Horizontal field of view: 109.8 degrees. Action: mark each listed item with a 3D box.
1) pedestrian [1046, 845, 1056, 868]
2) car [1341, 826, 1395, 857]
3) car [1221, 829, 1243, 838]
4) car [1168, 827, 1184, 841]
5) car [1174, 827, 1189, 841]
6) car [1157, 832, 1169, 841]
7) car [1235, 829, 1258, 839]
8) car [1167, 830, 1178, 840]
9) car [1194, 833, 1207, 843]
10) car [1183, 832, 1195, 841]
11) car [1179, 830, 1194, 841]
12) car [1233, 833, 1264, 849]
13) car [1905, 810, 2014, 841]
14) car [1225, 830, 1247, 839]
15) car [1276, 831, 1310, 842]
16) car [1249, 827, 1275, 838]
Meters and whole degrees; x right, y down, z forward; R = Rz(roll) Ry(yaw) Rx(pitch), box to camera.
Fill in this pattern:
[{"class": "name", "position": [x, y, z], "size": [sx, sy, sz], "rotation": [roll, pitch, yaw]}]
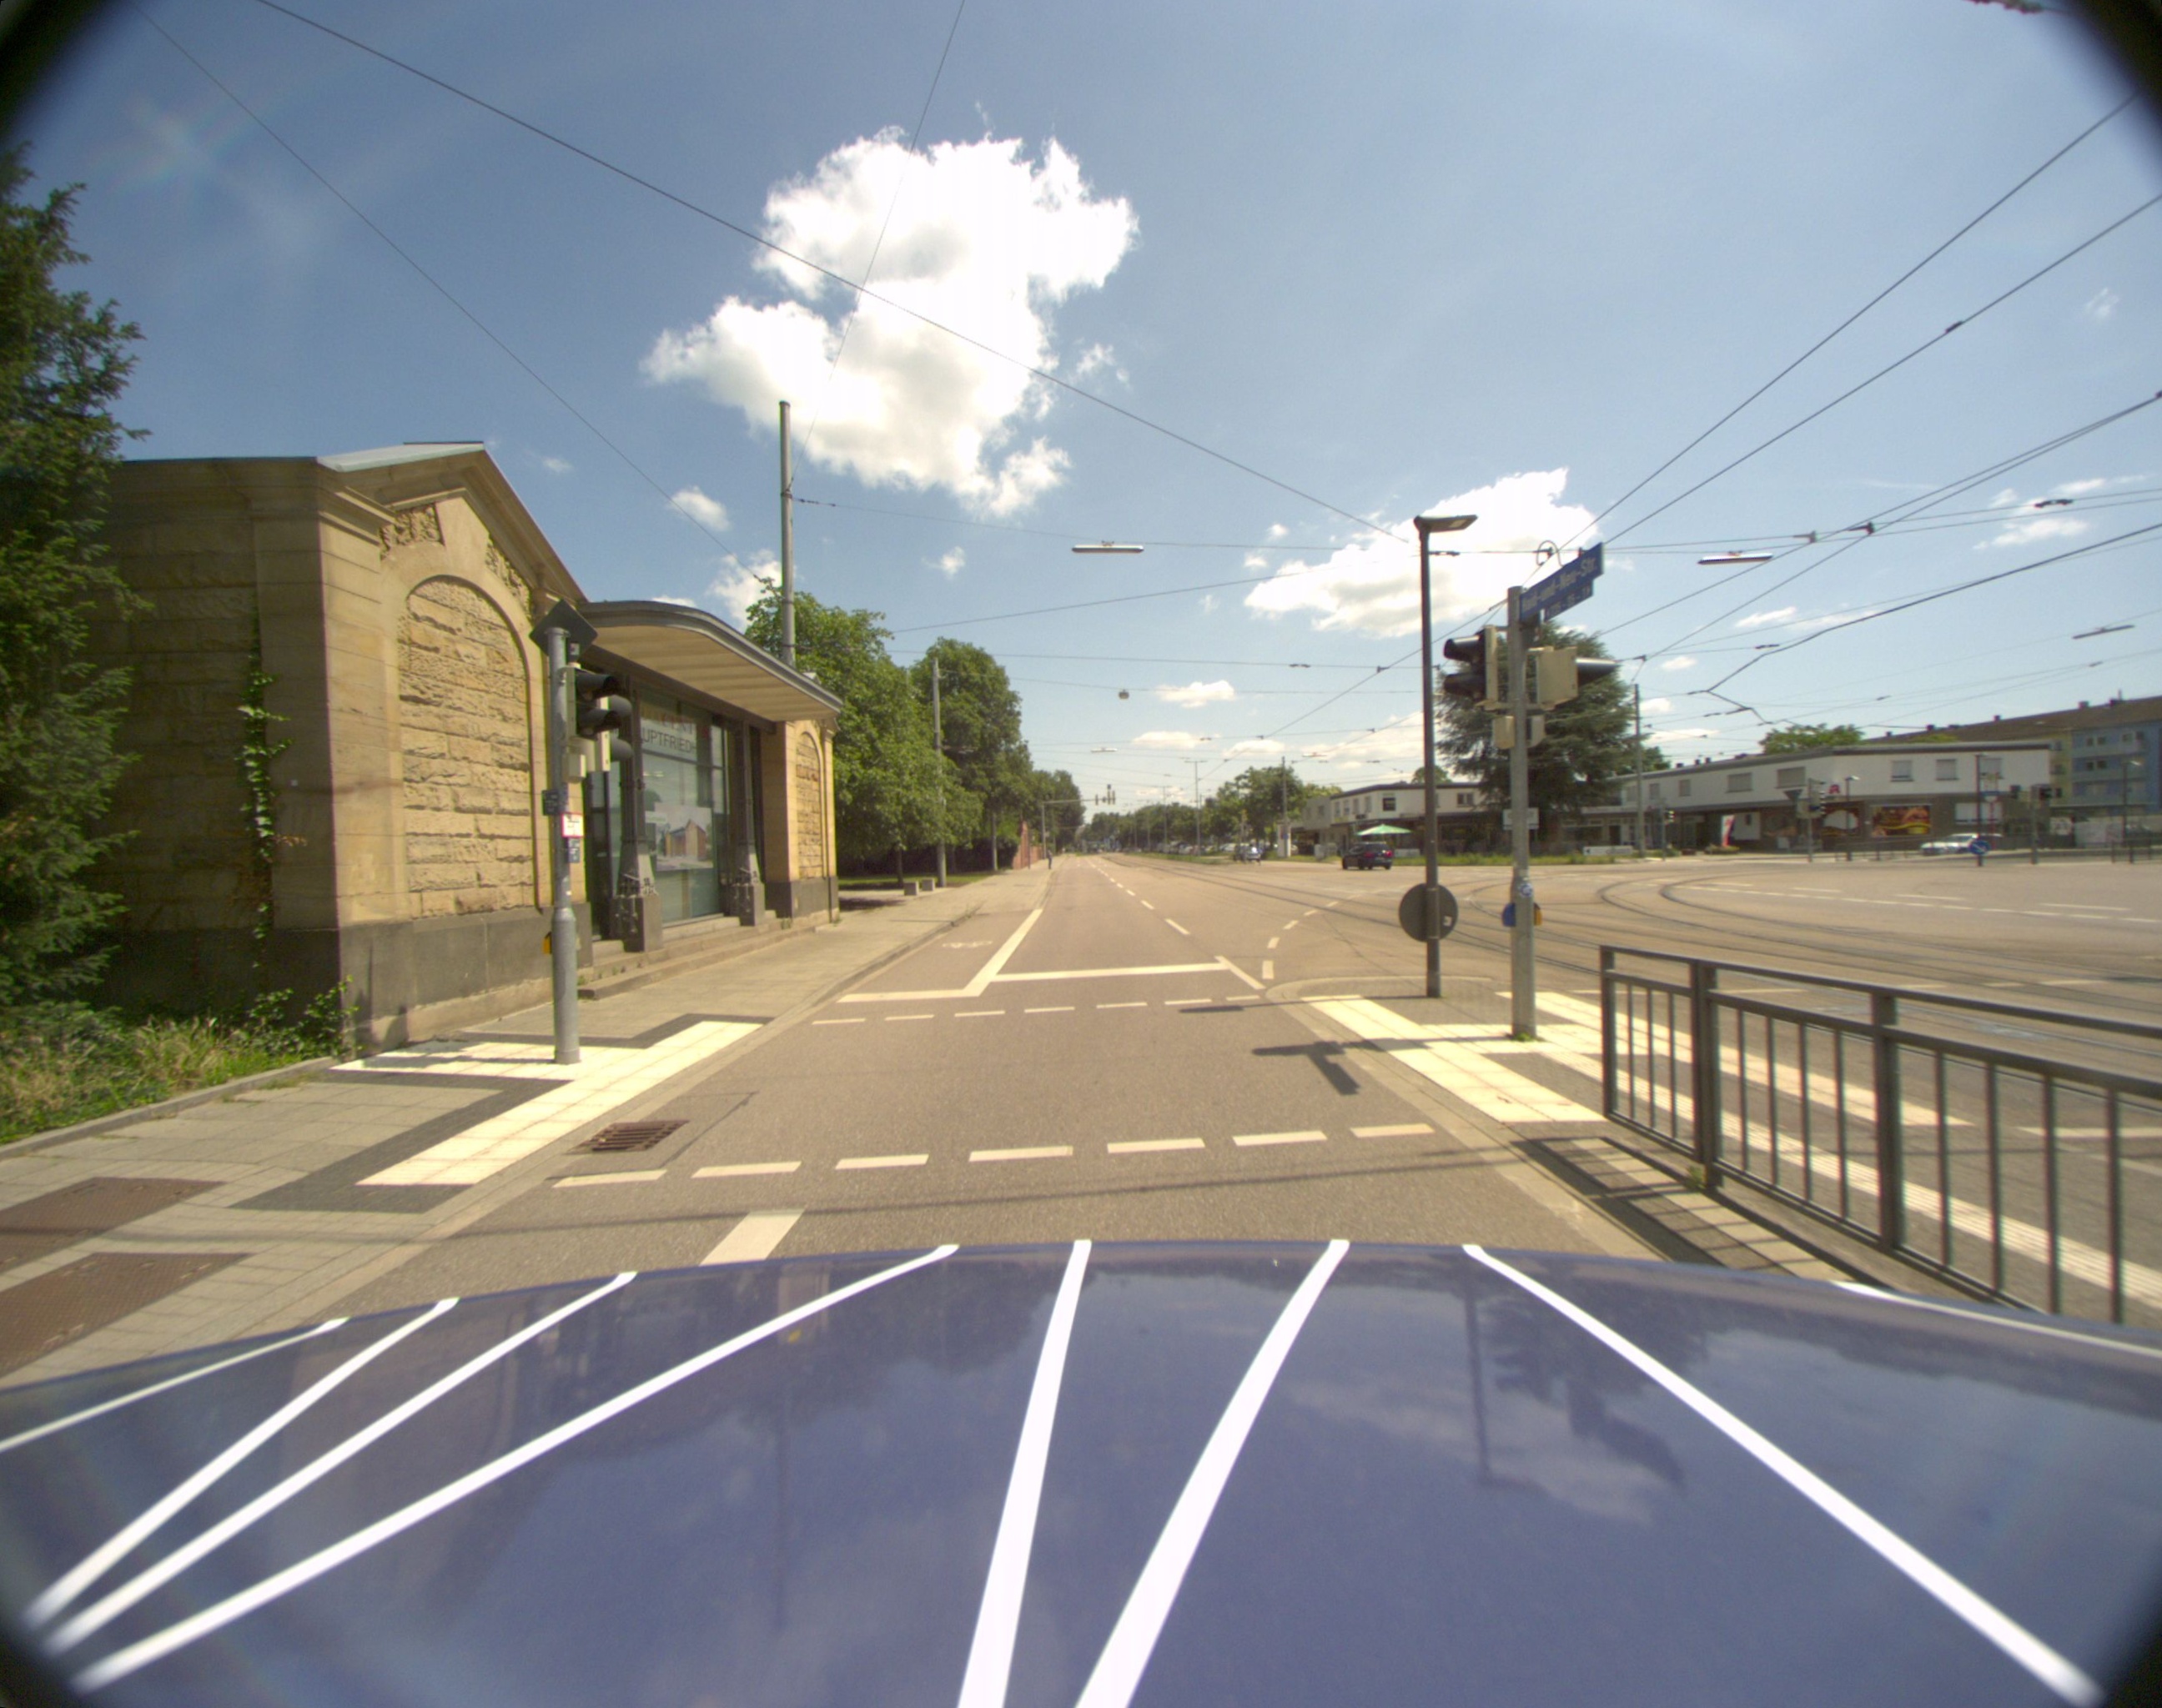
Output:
[{"class": "pedestrian", "position": [-2.442, 0.197, 61.701], "size": [0.767, 1.841, 0.717], "rotation": [-2, 2, -6]}, {"class": "car", "position": [16.853, -0.745, 44.787], "size": [1.727, 1.673, 4.279], "rotation": [-1, 1, 3]}, {"class": "car", "position": [30.921, -4.233, 155.713], "size": [4.199, 1.727, 1.802], "rotation": [0, 2, 0]}, {"class": "car", "position": [19.696, -4.185, 157.414], "size": [2.156, 2.597, 6.701], "rotation": [-4, 2, -1]}, {"class": "car", "position": [19.692, -3.926, 149.269], "size": [2.156, 2.597, 5.031], "rotation": [-4, 2, 0]}, {"class": "car", "position": [19.934, -4.299, 184.613], "size": [2.072, 2.090, 4.487], "rotation": [-4, 2, -2]}, {"class": "car", "position": [30.882, -3.750, 141.838], "size": [3.997, 1.727, 1.902], "rotation": [-1, 2, 1]}, {"class": "car", "position": [20.004, -4.129, 166.107], "size": [1.794, 1.928, 4.647], "rotation": [-4, 2, 0]}, {"class": "car", "position": [19.927, -2.748, 126.858], "size": [1.580, 1.531, 4.549], "rotation": [-3, 2, 1]}, {"class": "car", "position": [19.452, -3.129, 136.640], "size": [1.503, 1.531, 4.357], "rotation": [-3, 2, 1]}, {"class": "car", "position": [19.869, -3.449, 143.288], "size": [2.156, 1.827, 4.886], "rotation": [-4, 2, 0]}, {"class": "car", "position": [16.536, -1.276, 75.270], "size": [1.999, 1.463, 4.399], "rotation": [-1, 1, -1]}, {"class": "car", "position": [49.570, -1.631, 42.952], "size": [3.851, 1.715, 1.899], "rotation": [0, 2, 1]}, {"class": "car", "position": [30.025, -3.713, 147.398], "size": [3.997, 1.727, 1.802], "rotation": [0, 2, 0]}, {"class": "car", "position": [30.798, -2.492, 110.577], "size": [4.484, 1.426, 1.906], "rotation": [-1, 1, 2]}, {"class": "car", "position": [43.946, -5.309, 184.291], "size": [5.698, 2.467, 2.259], "rotation": [-2, 2, -3]}]
